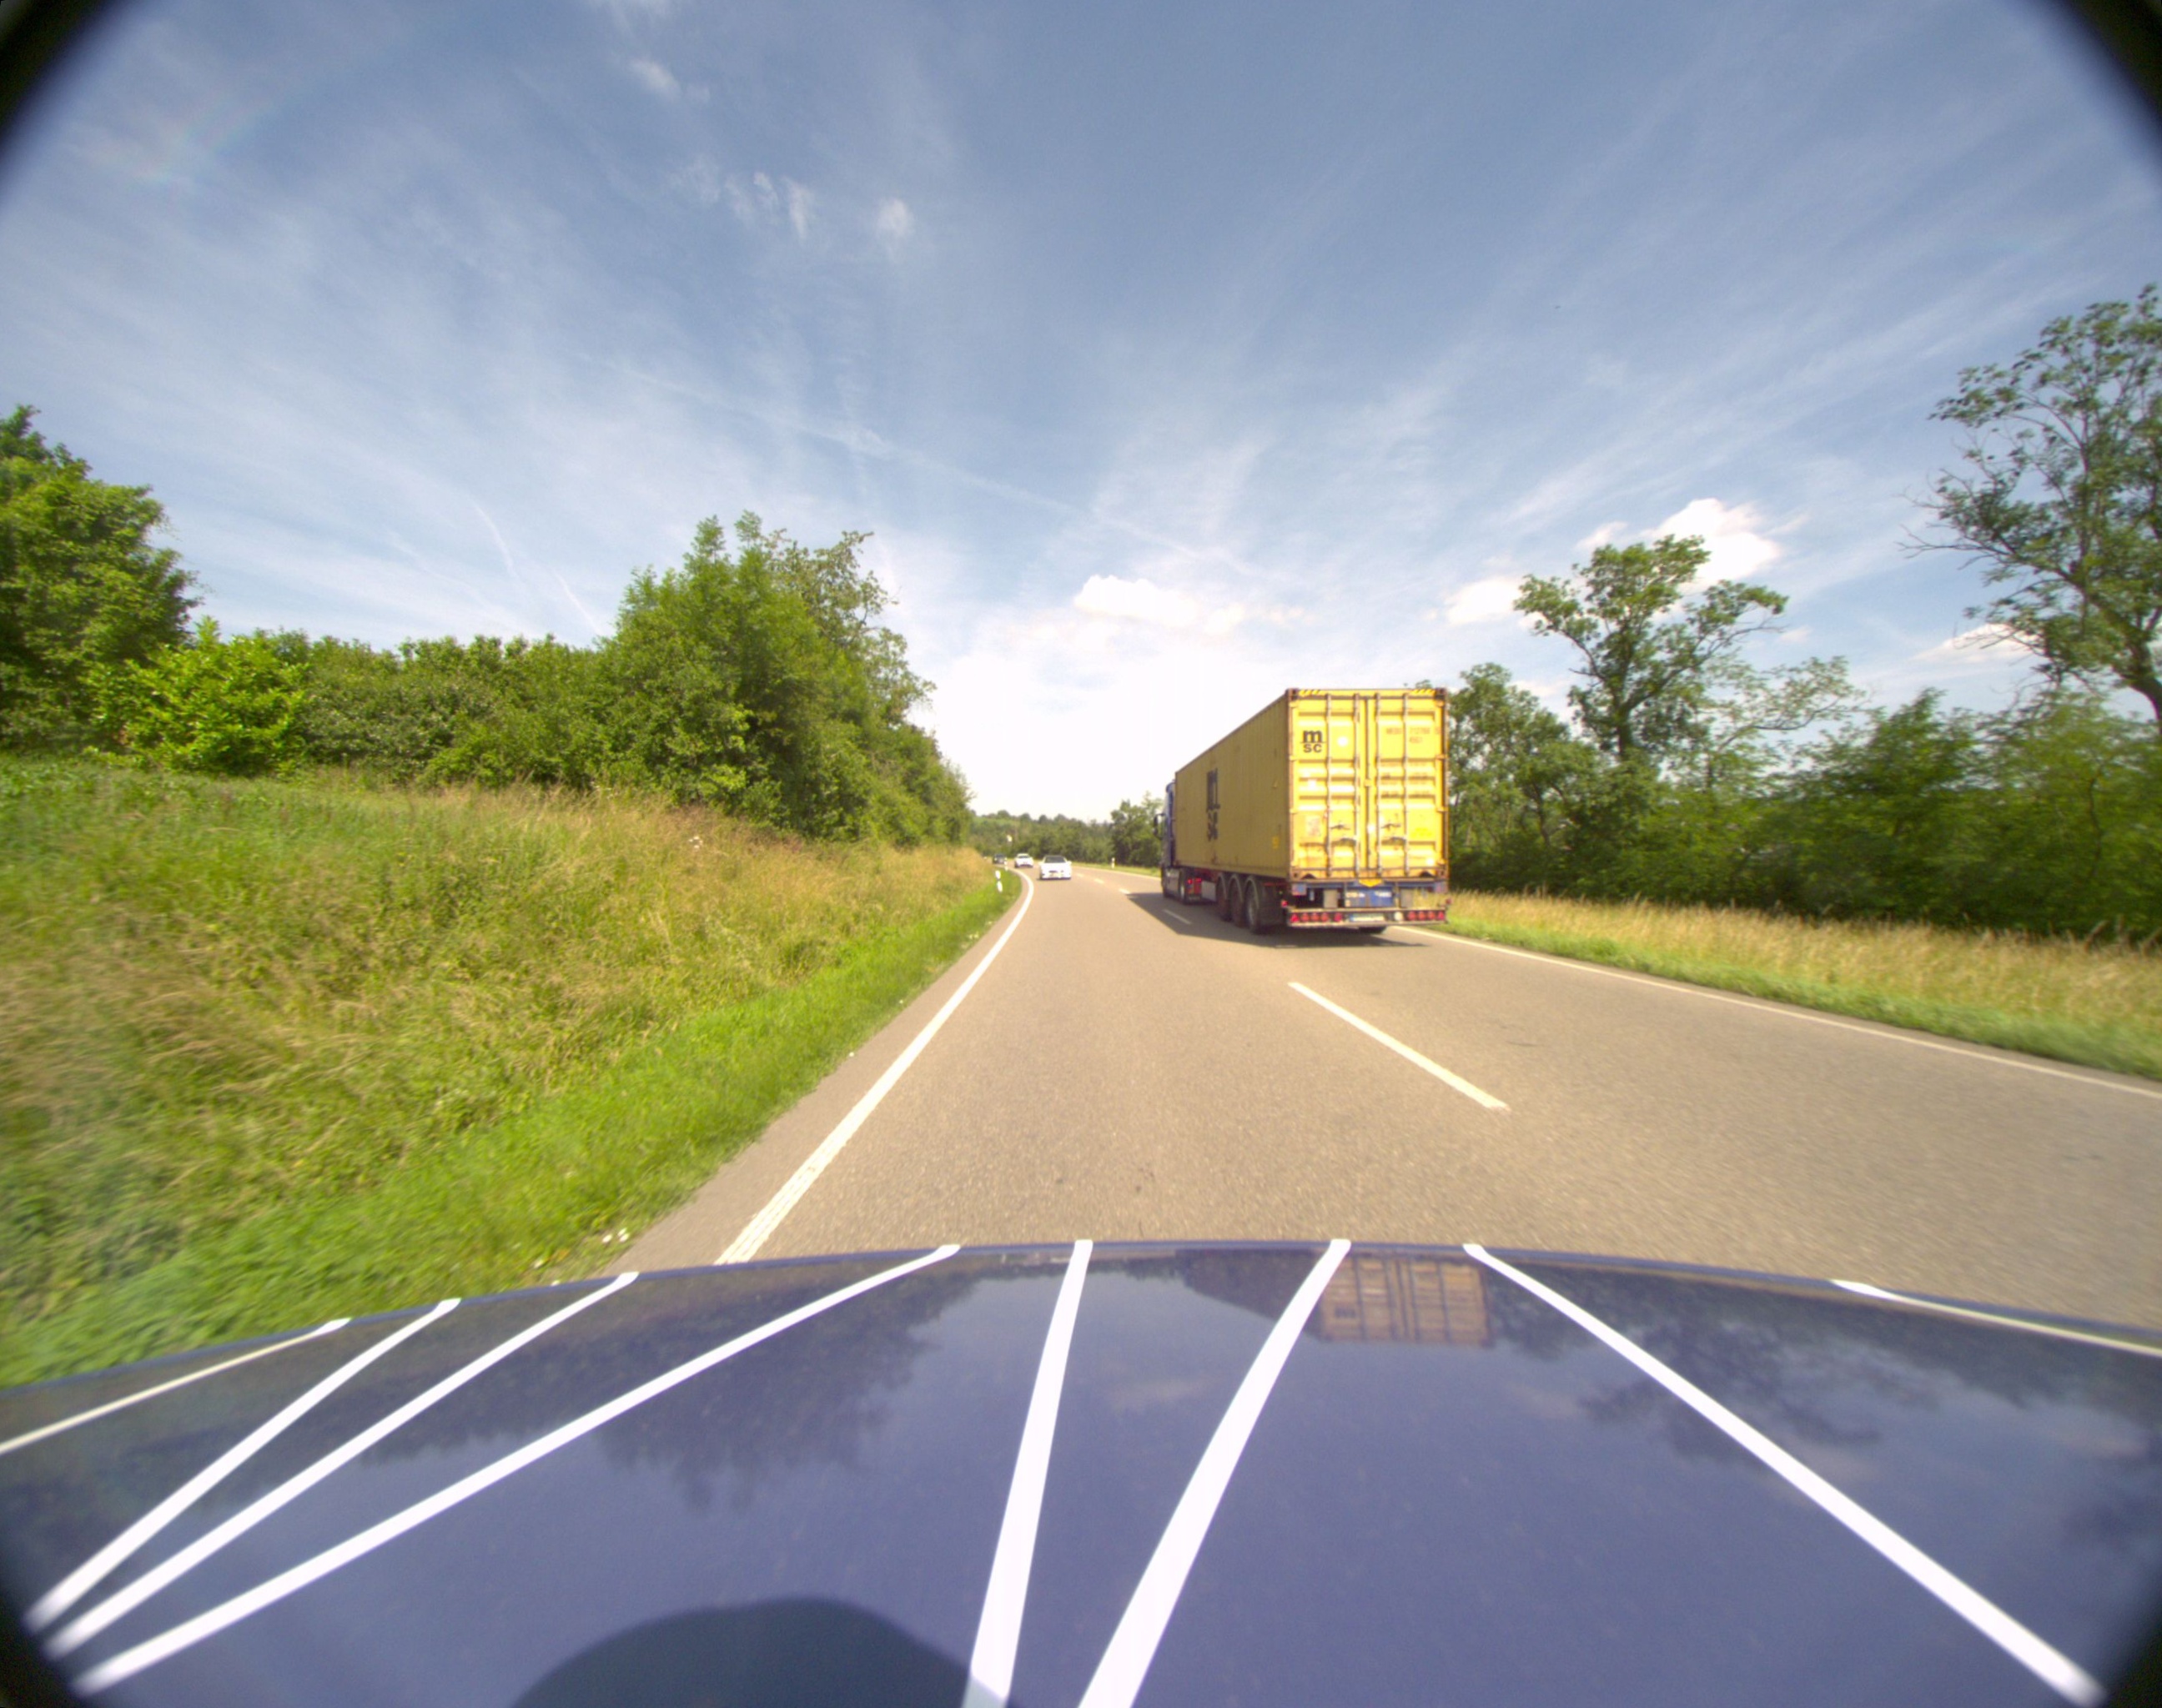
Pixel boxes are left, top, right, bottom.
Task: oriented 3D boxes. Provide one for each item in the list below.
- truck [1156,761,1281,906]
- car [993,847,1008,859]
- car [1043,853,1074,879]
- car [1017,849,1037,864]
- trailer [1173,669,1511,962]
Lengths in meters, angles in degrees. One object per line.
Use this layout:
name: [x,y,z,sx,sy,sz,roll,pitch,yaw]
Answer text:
truck: [4.178,-0.592,24.431,2.814,4.043,5.984,-1,0,-1]
car: [-11.688,-0.185,110.424,1.826,1.510,3.996,4,0,-9]
car: [-1.434,0.712,46.961,1.773,1.437,3.998,-2,1,-3]
car: [-6.031,0.288,84.164,1.867,1.480,3.996,-2,1,-8]
trailer: [4.441,-0.562,17.070,3.005,4.020,12.915,-1,0,0]
